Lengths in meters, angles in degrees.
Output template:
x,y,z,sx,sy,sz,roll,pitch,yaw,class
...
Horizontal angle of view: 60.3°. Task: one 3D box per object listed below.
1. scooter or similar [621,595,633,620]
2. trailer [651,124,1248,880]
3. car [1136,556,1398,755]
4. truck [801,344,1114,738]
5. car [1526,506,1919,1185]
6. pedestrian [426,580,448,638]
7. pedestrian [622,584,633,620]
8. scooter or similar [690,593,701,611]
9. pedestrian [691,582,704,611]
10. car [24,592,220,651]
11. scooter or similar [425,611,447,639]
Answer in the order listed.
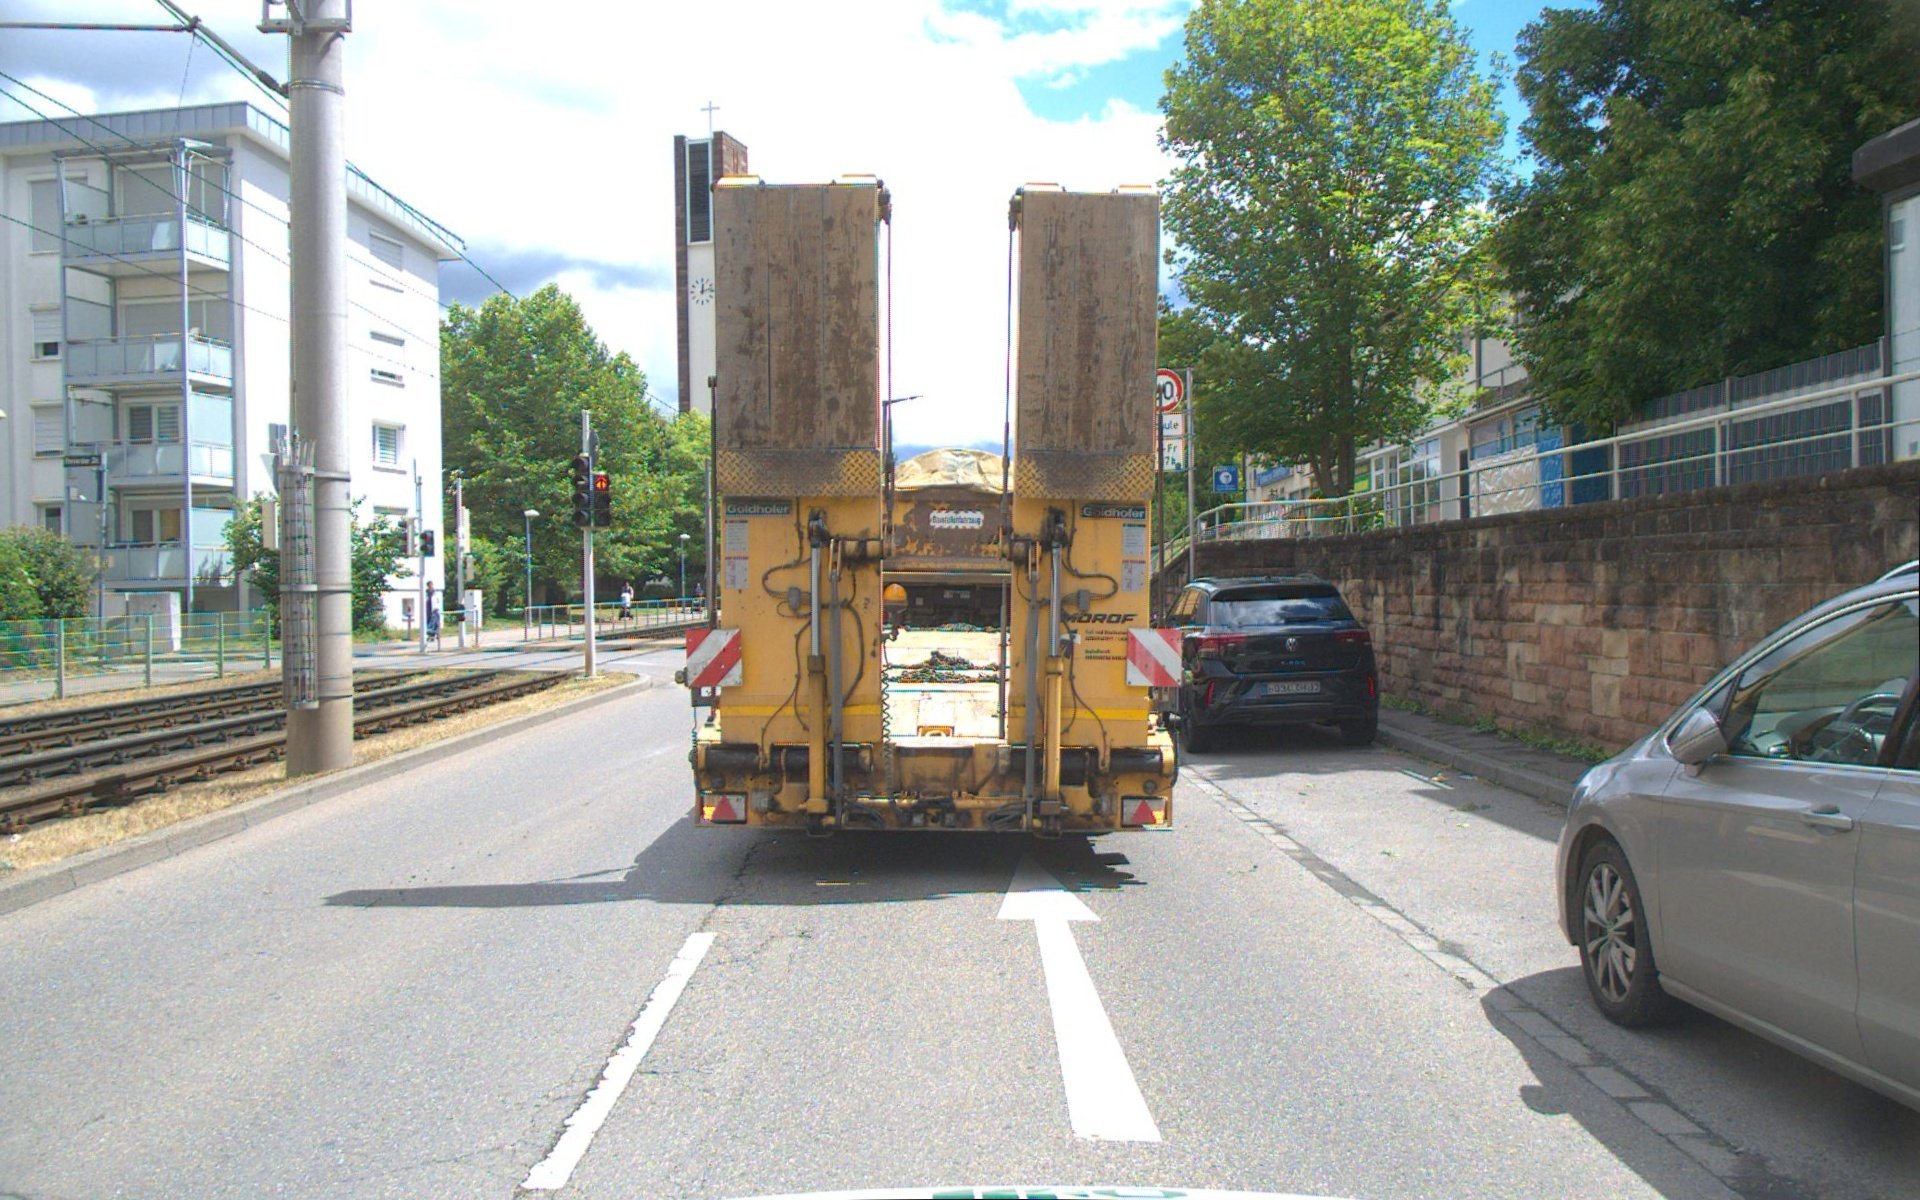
x,y,z,sx,sy,sz,roll,pitch,yaw,class
-14.384,0.327,71.395,0.331,1.076,0.688,0,0,2,scooter or similar
-0.037,-0.526,12.426,2.885,3.664,8.684,-1,1,0,trailer
2.882,0.465,16.394,1.813,1.668,4.000,-2,0,0,car
-0.035,-0.575,17.845,2.882,3.635,4.876,-1,0,0,truck
3.174,0.567,4.386,1.754,1.646,4.247,-2,1,-2,car
-14.407,0.245,45.546,0.428,1.608,0.475,-1,0,4,pedestrian
-14.484,0.083,72.045,0.341,1.564,0.557,-1,0,3,pedestrian
-14.079,0.107,87.978,0.495,0.988,0.645,1,0,-2,scooter or similar
-14.066,-0.173,88.631,0.552,1.540,0.645,1,0,-2,pedestrian
-20.618,0.521,40.765,3.902,1.369,1.903,-1,0,7,car
-14.269,0.679,45.047,0.428,0.760,0.475,-1,0,4,scooter or similar
